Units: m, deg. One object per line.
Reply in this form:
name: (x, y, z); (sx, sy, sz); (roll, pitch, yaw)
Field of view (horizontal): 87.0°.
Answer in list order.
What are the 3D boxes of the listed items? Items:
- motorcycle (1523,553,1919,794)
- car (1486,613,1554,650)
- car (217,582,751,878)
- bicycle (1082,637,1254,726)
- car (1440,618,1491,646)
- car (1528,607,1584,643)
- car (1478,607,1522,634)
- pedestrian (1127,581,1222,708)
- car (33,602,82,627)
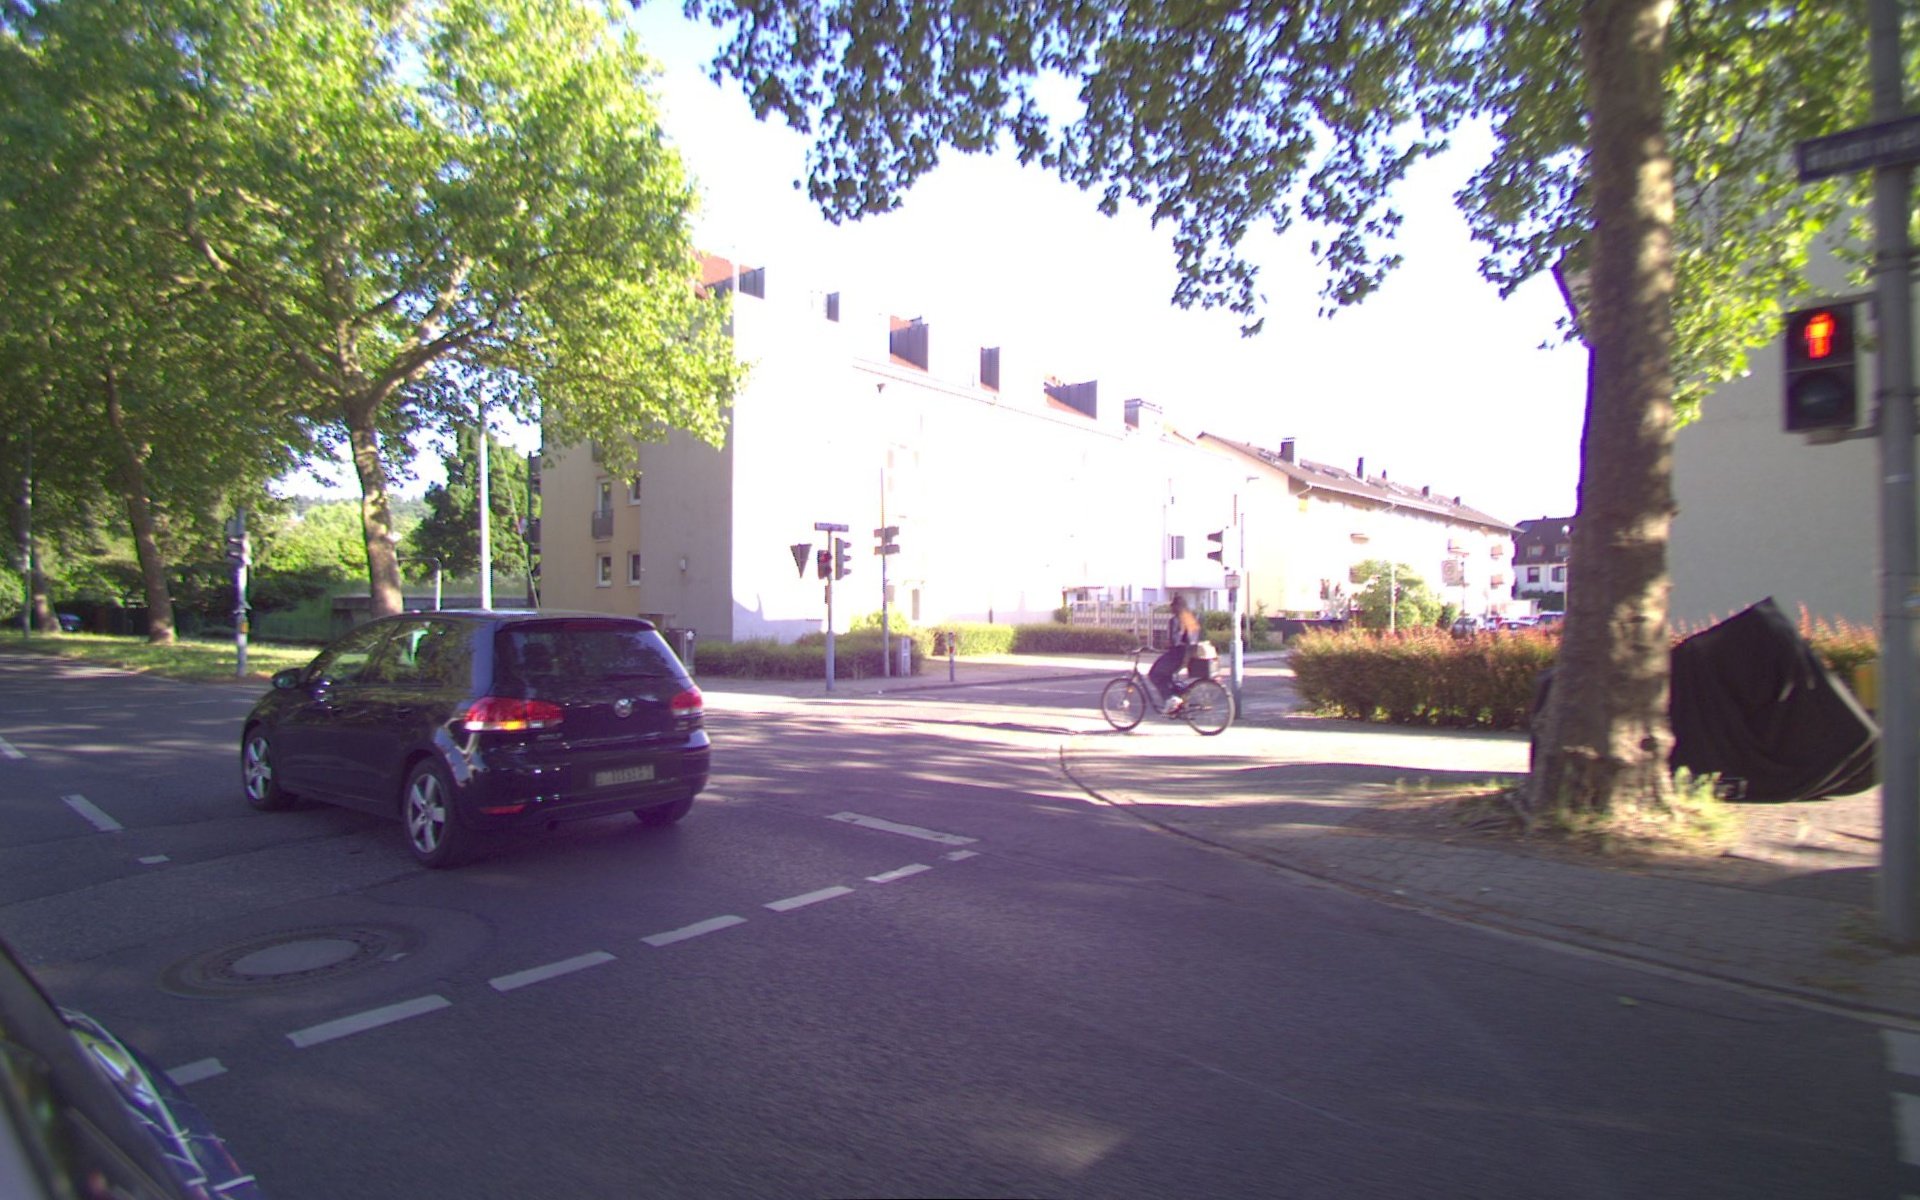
motorcycle: (5.874, 0.553, 7.980); (2.383, 1.650, 0.971); (-3, -2, 34)
car: (23.973, 1.329, 43.268); (1.997, 1.498, 3.949); (-1, -1, 38)
car: (-3.447, 0.666, 7.008); (4.063, 1.475, 1.709); (0, -1, 38)
bicycle: (2.607, 1.030, 12.922); (2.151, 1.050, 0.504); (-4, -3, 41)
car: (31.373, 1.957, 62.787); (1.998, 1.683, 3.947); (-1, -1, 39)
car: (30.811, 1.296, 52.279); (1.997, 1.782, 3.949); (-1, -1, 38)
car: (36.445, 1.390, 68.308); (1.997, 1.782, 3.949); (-1, -1, 38)
pedestrian: (2.711, 0.556, 12.828); (1.033, 1.543, 0.504); (-3, -3, 41)
car: (-55.922, 0.888, 62.702); (3.998, 1.541, 1.790); (-1, -1, 41)
